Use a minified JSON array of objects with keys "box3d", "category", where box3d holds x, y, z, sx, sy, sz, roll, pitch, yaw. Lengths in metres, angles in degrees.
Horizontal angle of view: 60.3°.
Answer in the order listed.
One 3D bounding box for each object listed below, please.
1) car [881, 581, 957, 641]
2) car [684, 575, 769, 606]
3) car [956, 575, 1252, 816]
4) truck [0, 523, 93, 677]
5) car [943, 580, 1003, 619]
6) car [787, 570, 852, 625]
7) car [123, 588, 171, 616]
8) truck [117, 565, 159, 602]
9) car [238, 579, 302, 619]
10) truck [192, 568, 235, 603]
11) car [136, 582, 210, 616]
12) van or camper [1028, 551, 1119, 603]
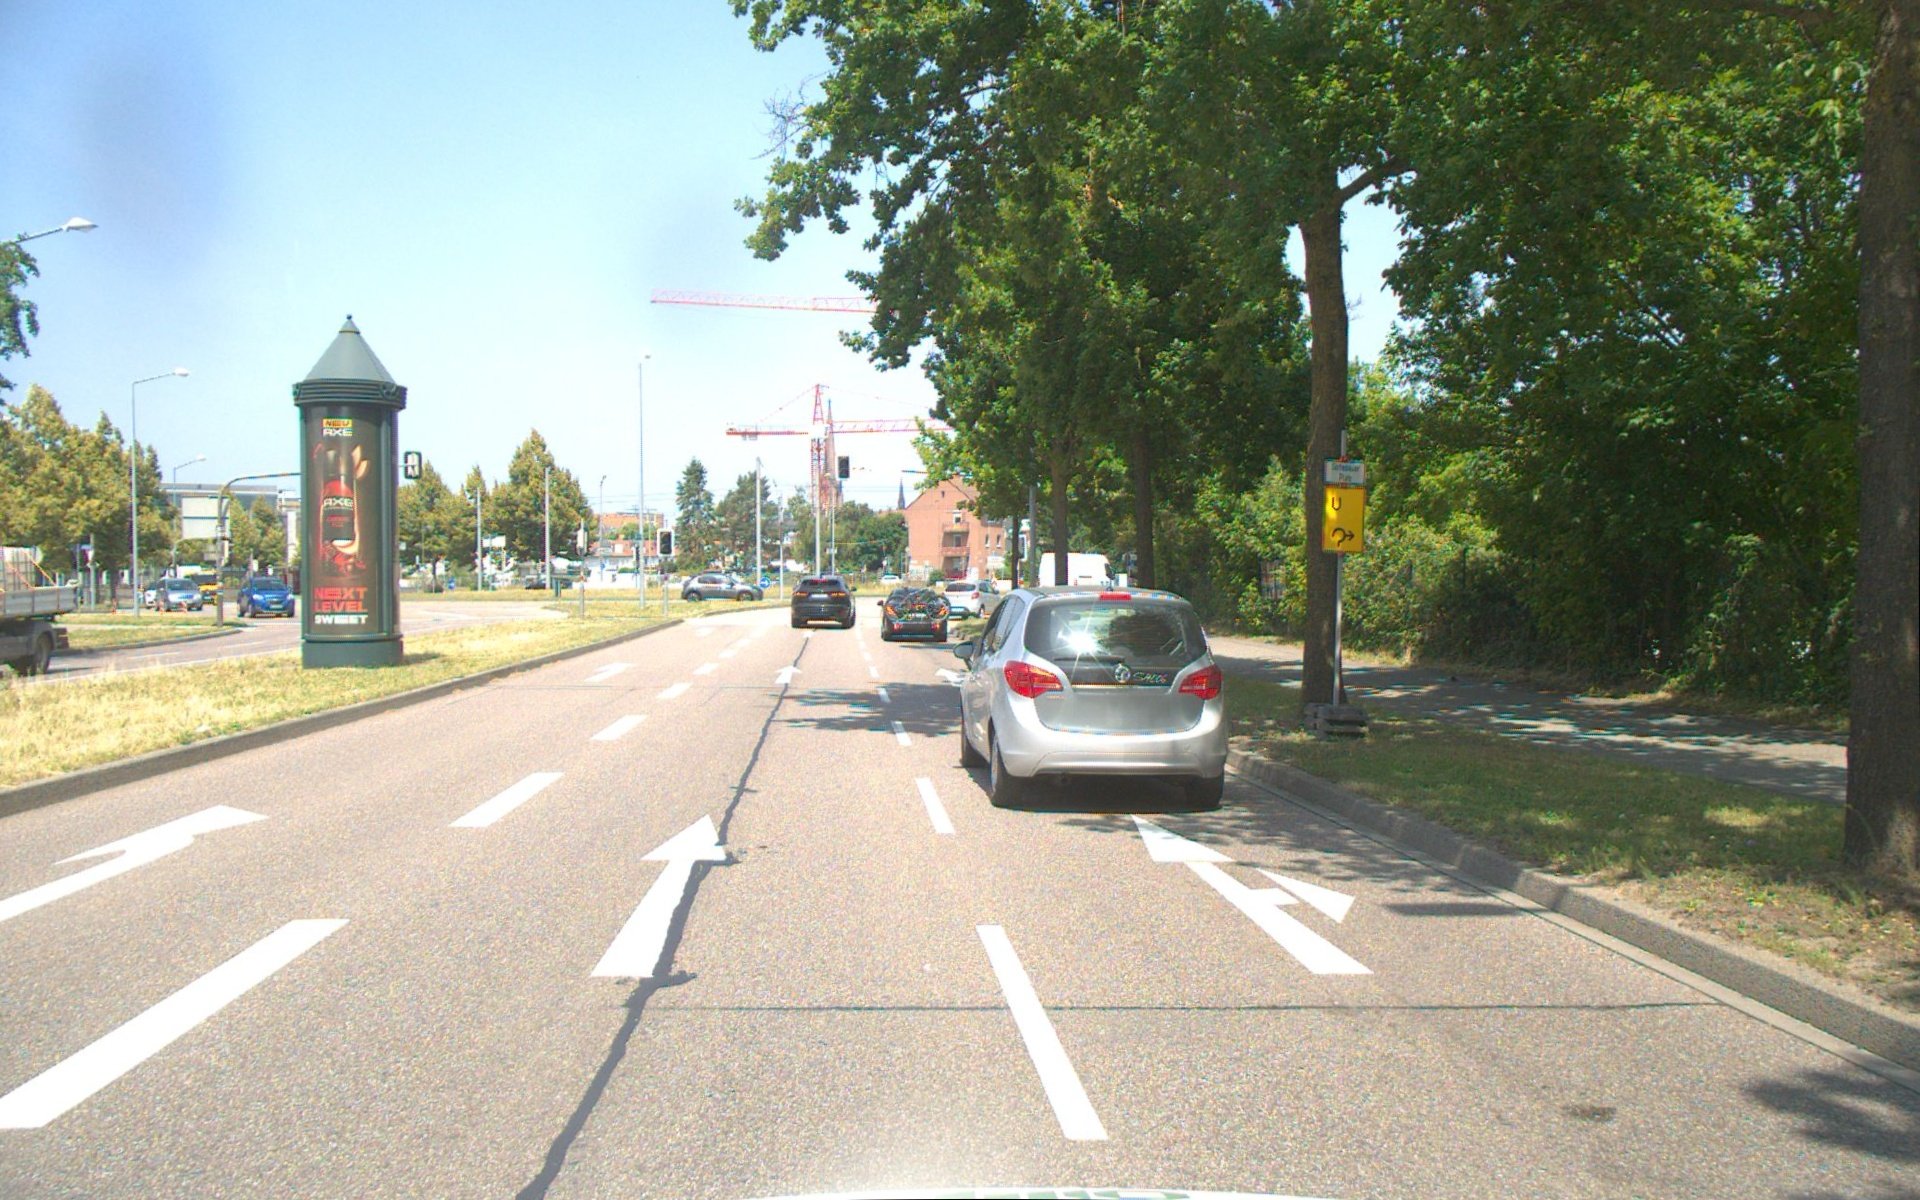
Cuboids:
[{"box3d":[-1.169,0.268,45.475,1.974,1.543,4.459,-1,1,-2],"category":"car"},{"box3d":[-11.403,-0.485,80.961,3.908,1.478,1.999,0,0,-4],"category":"car"},{"box3d":[0.988,0.621,13.262,1.757,1.640,3.887,0,1,-4],"category":"car"},{"box3d":[-17.717,0.031,28.892,2.590,2.621,6.305,-2,1,-9],"category":"truck"},{"box3d":[0.531,-0.037,64.020,1.903,1.467,4.003,0,1,6],"category":"car"},{"box3d":[-4.542,-0.112,53.953,1.958,1.719,4.032,1,1,-3],"category":"car"},{"box3d":[-44.717,0.101,90.943,1.727,1.449,3.792,-1,1,-36],"category":"car"},{"box3d":[-62.527,-1.240,125.813,1.979,2.787,4.967,-1,1,-37],"category":"truck"},{"box3d":[-29.257,-0.047,70.083,1.973,1.624,3.959,-1,1,-30],"category":"car"},{"box3d":[-57.628,-1.120,127.628,2.330,2.640,6.346,-1,1,-31],"category":"truck"},{"box3d":[-39.184,-0.065,82.295,3.928,1.624,1.988,0,1,42],"category":"car"},{"box3d":[5.348,-1.073,77.192,2.446,2.331,4.914,0,1,28],"category":"van or camper"}]
